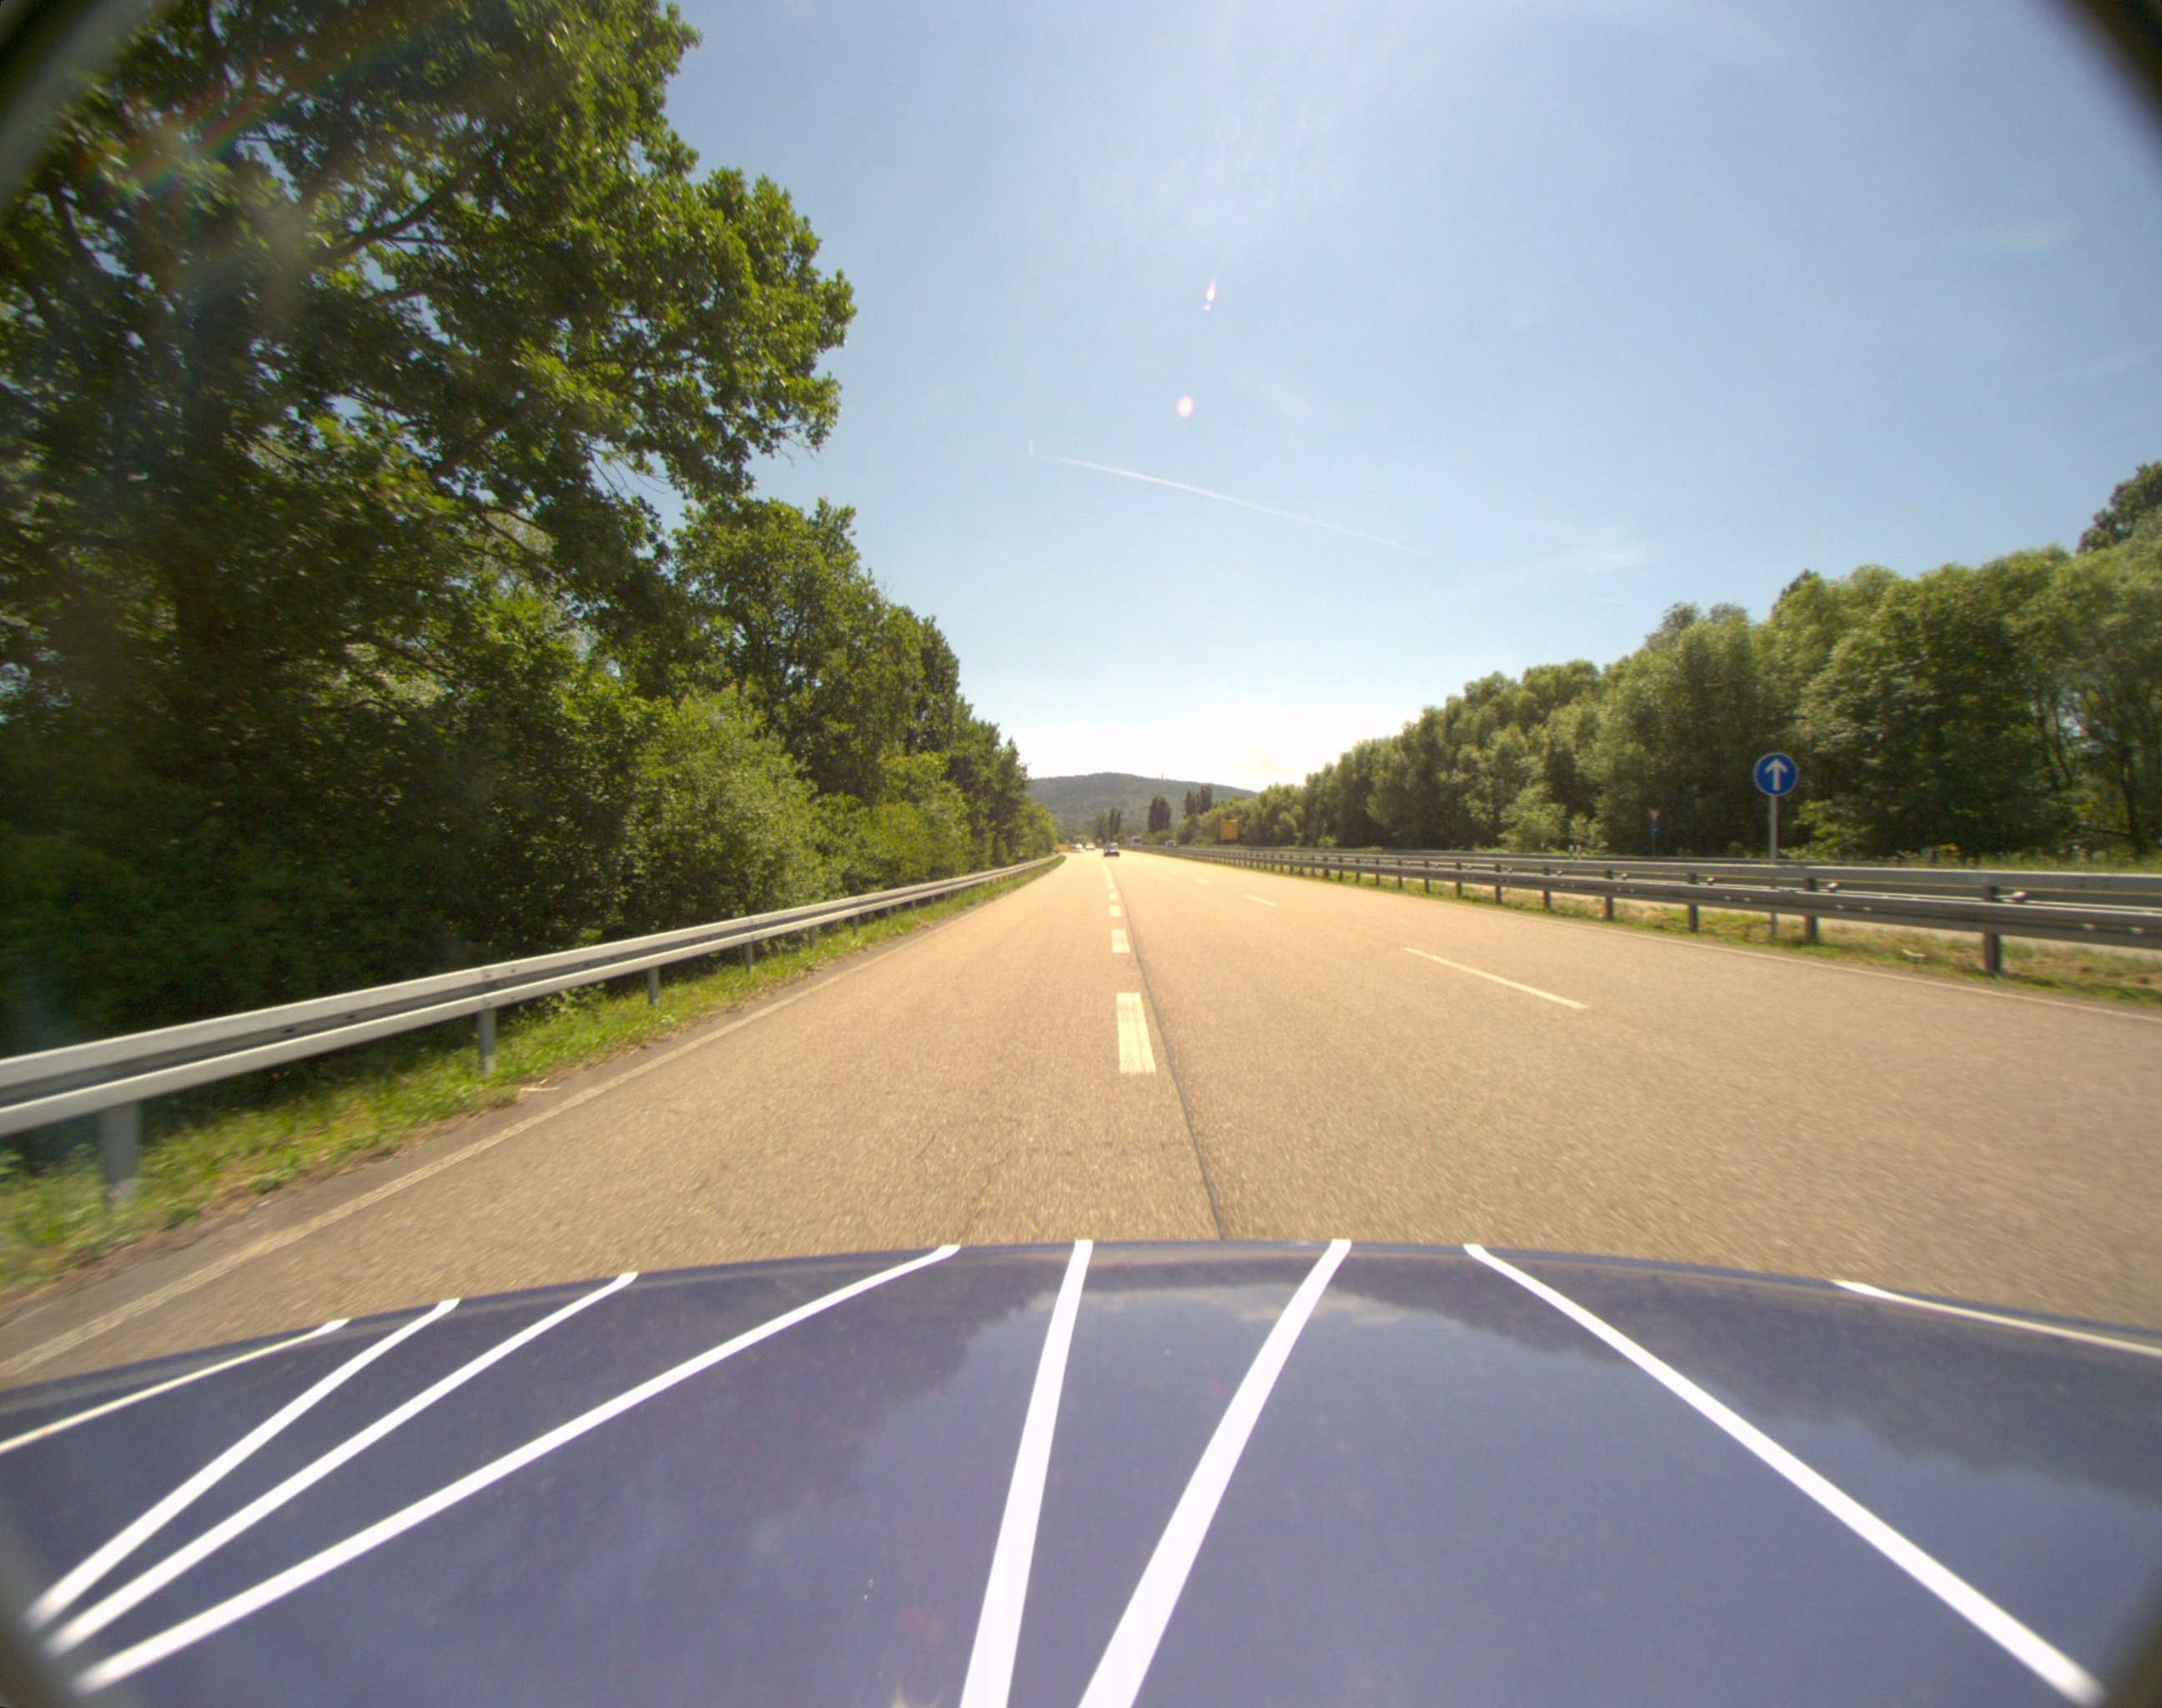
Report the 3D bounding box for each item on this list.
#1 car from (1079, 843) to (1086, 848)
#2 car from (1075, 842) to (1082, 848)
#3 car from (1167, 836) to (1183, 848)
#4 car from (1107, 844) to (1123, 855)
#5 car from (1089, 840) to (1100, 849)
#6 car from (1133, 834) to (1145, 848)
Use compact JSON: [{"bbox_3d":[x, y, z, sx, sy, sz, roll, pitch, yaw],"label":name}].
[{"bbox_3d":[0.372,-2.500,225.082,1.658,1.536,3.691,-2,1,4],"label":"car"},{"bbox_3d":[-0.699,-2.384,209.071,1.658,1.536,3.691,-2,1,3],"label":"car"},{"bbox_3d":[14.449,-1.853,117.195,1.867,1.820,4.659,-2,1,1],"label":"car"},{"bbox_3d":[4.341,-0.594,97.701,1.908,1.368,3.891,-2,1,2],"label":"car"},{"bbox_3d":[2.786,-1.952,157.851,1.998,1.630,4.001,-2,0,2],"label":"car"},{"bbox_3d":[12.304,-2.791,162.552,2.108,2.667,6.626,-2,1,1],"label":"car"}]
